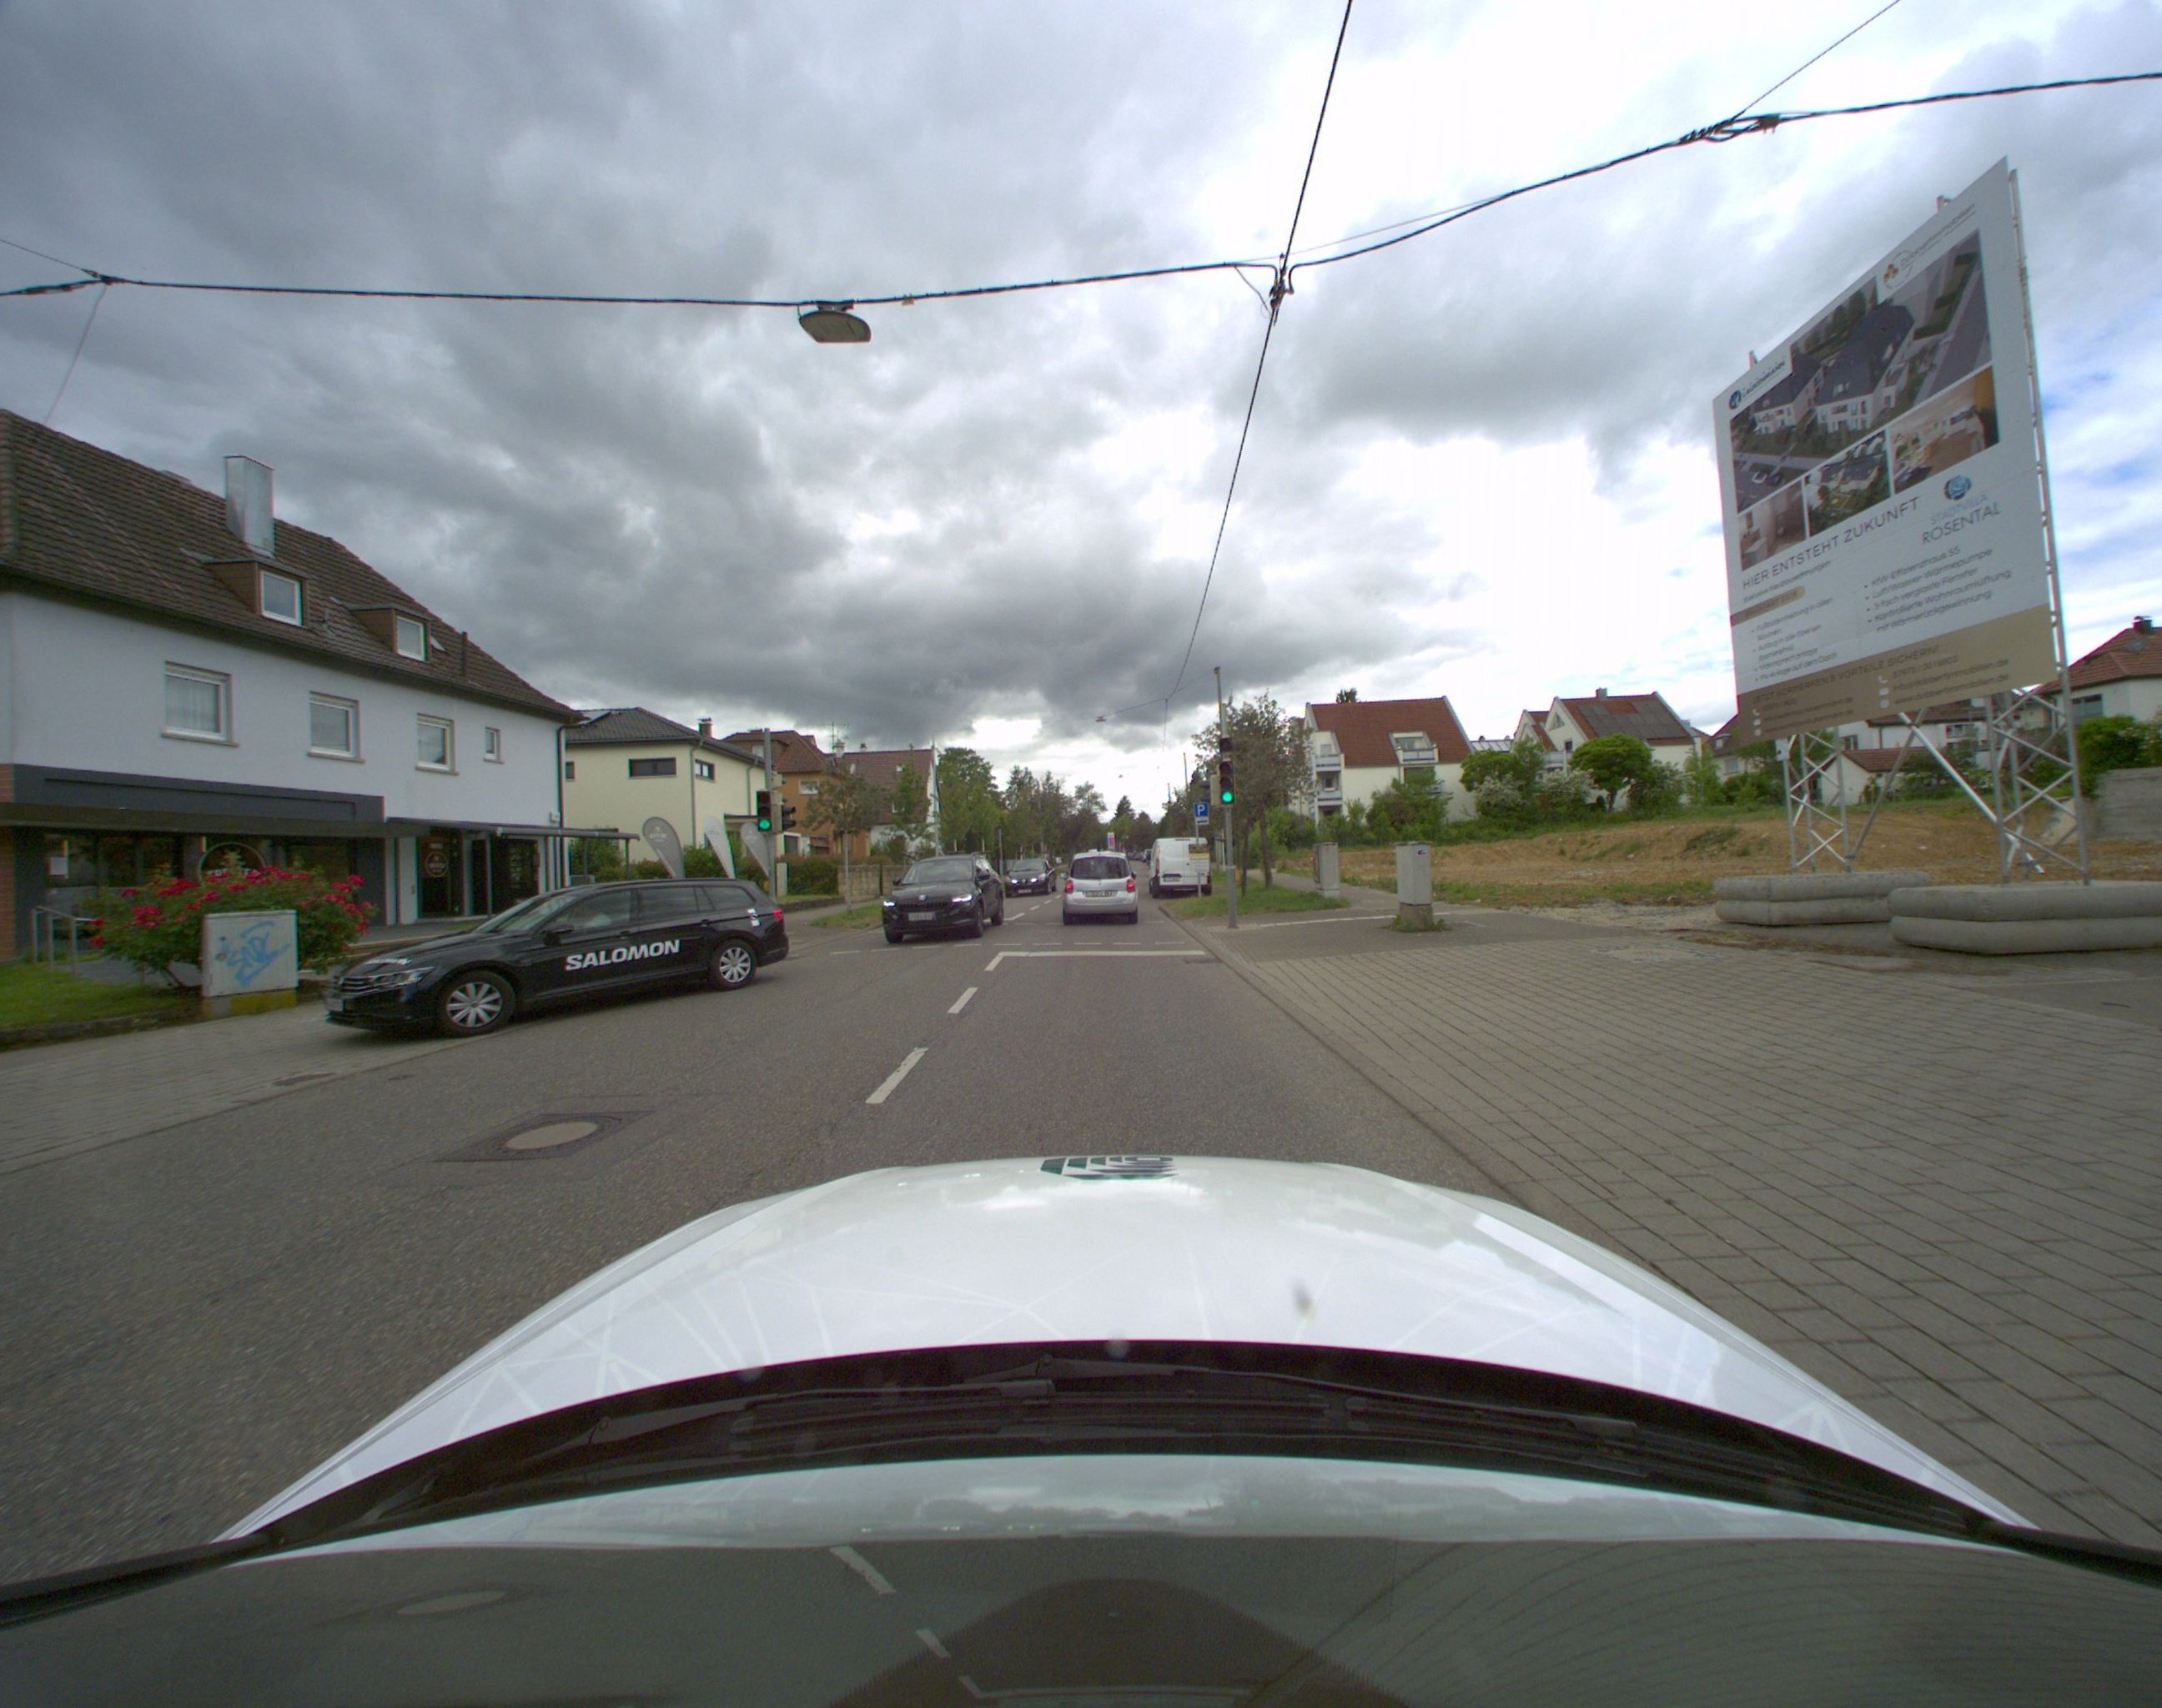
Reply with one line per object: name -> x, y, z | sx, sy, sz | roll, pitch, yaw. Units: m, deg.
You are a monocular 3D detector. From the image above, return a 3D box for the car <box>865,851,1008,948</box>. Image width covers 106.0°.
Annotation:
car -> -2.782, 0.822, 16.623 | 1.887, 1.624, 4.003 | -4, 0, 3

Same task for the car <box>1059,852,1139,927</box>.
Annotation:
car -> 0.500, 0.763, 18.988 | 1.672, 1.560, 3.515 | -1, 0, 4

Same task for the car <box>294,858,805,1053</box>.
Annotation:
car -> -5.932, 0.959, 9.757 | 1.974, 1.620, 4.678 | -3, -1, 34

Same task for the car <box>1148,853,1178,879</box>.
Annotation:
car -> 4.942, 0.712, 49.701 | 1.686, 1.453, 4.409 | -1, 0, 4

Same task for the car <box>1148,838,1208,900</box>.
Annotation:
car -> 3.300, 0.493, 28.488 | 1.767, 1.943, 4.792 | -2, 0, 3

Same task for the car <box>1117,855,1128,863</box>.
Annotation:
car -> 8.881, 1.037, 173.666 | 1.692, 1.506, 3.966 | -2, 0, -4

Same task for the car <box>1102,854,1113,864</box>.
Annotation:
car -> 5.036, 0.890, 153.744 | 1.829, 1.714, 3.999 | -4, 0, 0

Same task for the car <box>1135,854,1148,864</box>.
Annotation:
car -> 9.406, 0.732, 126.742 | 1.622, 1.452, 3.873 | -4, 0, -2

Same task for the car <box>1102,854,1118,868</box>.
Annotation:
car -> 3.793, 0.890, 106.849 | 1.787, 1.752, 4.304 | -4, 0, 4

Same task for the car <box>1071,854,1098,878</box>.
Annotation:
car -> 0.328, 0.919, 65.098 | 1.806, 1.693, 4.469 | -4, -1, 3

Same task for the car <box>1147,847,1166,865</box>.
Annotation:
car -> 8.141, 0.208, 88.036 | 1.822, 1.712, 4.554 | -4, -1, 4

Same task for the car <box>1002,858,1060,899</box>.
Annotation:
car -> -1.944, 0.936, 32.811 | 1.608, 1.472, 4.006 | -4, 0, 5

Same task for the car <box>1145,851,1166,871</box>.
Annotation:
car -> 6.345, 0.625, 69.494 | 1.680, 1.609, 4.114 | -1, 0, 4

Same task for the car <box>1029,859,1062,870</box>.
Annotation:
car -> -4.561, 1.414, 104.887 | 4.268, 1.368, 1.814 | 0, -1, -3

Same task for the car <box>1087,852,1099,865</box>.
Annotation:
car -> 2.660, 0.919, 178.307 | 2.065, 2.582, 5.304 | -5, -1, 3

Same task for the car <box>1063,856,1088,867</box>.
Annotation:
car -> -0.995, 1.357, 142.876 | 4.069, 1.706, 1.749 | -4, -1, 3

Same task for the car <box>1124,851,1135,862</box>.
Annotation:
car -> 13.023, 0.752, 218.729 | 2.275, 2.911, 5.275 | -1, -1, -2
